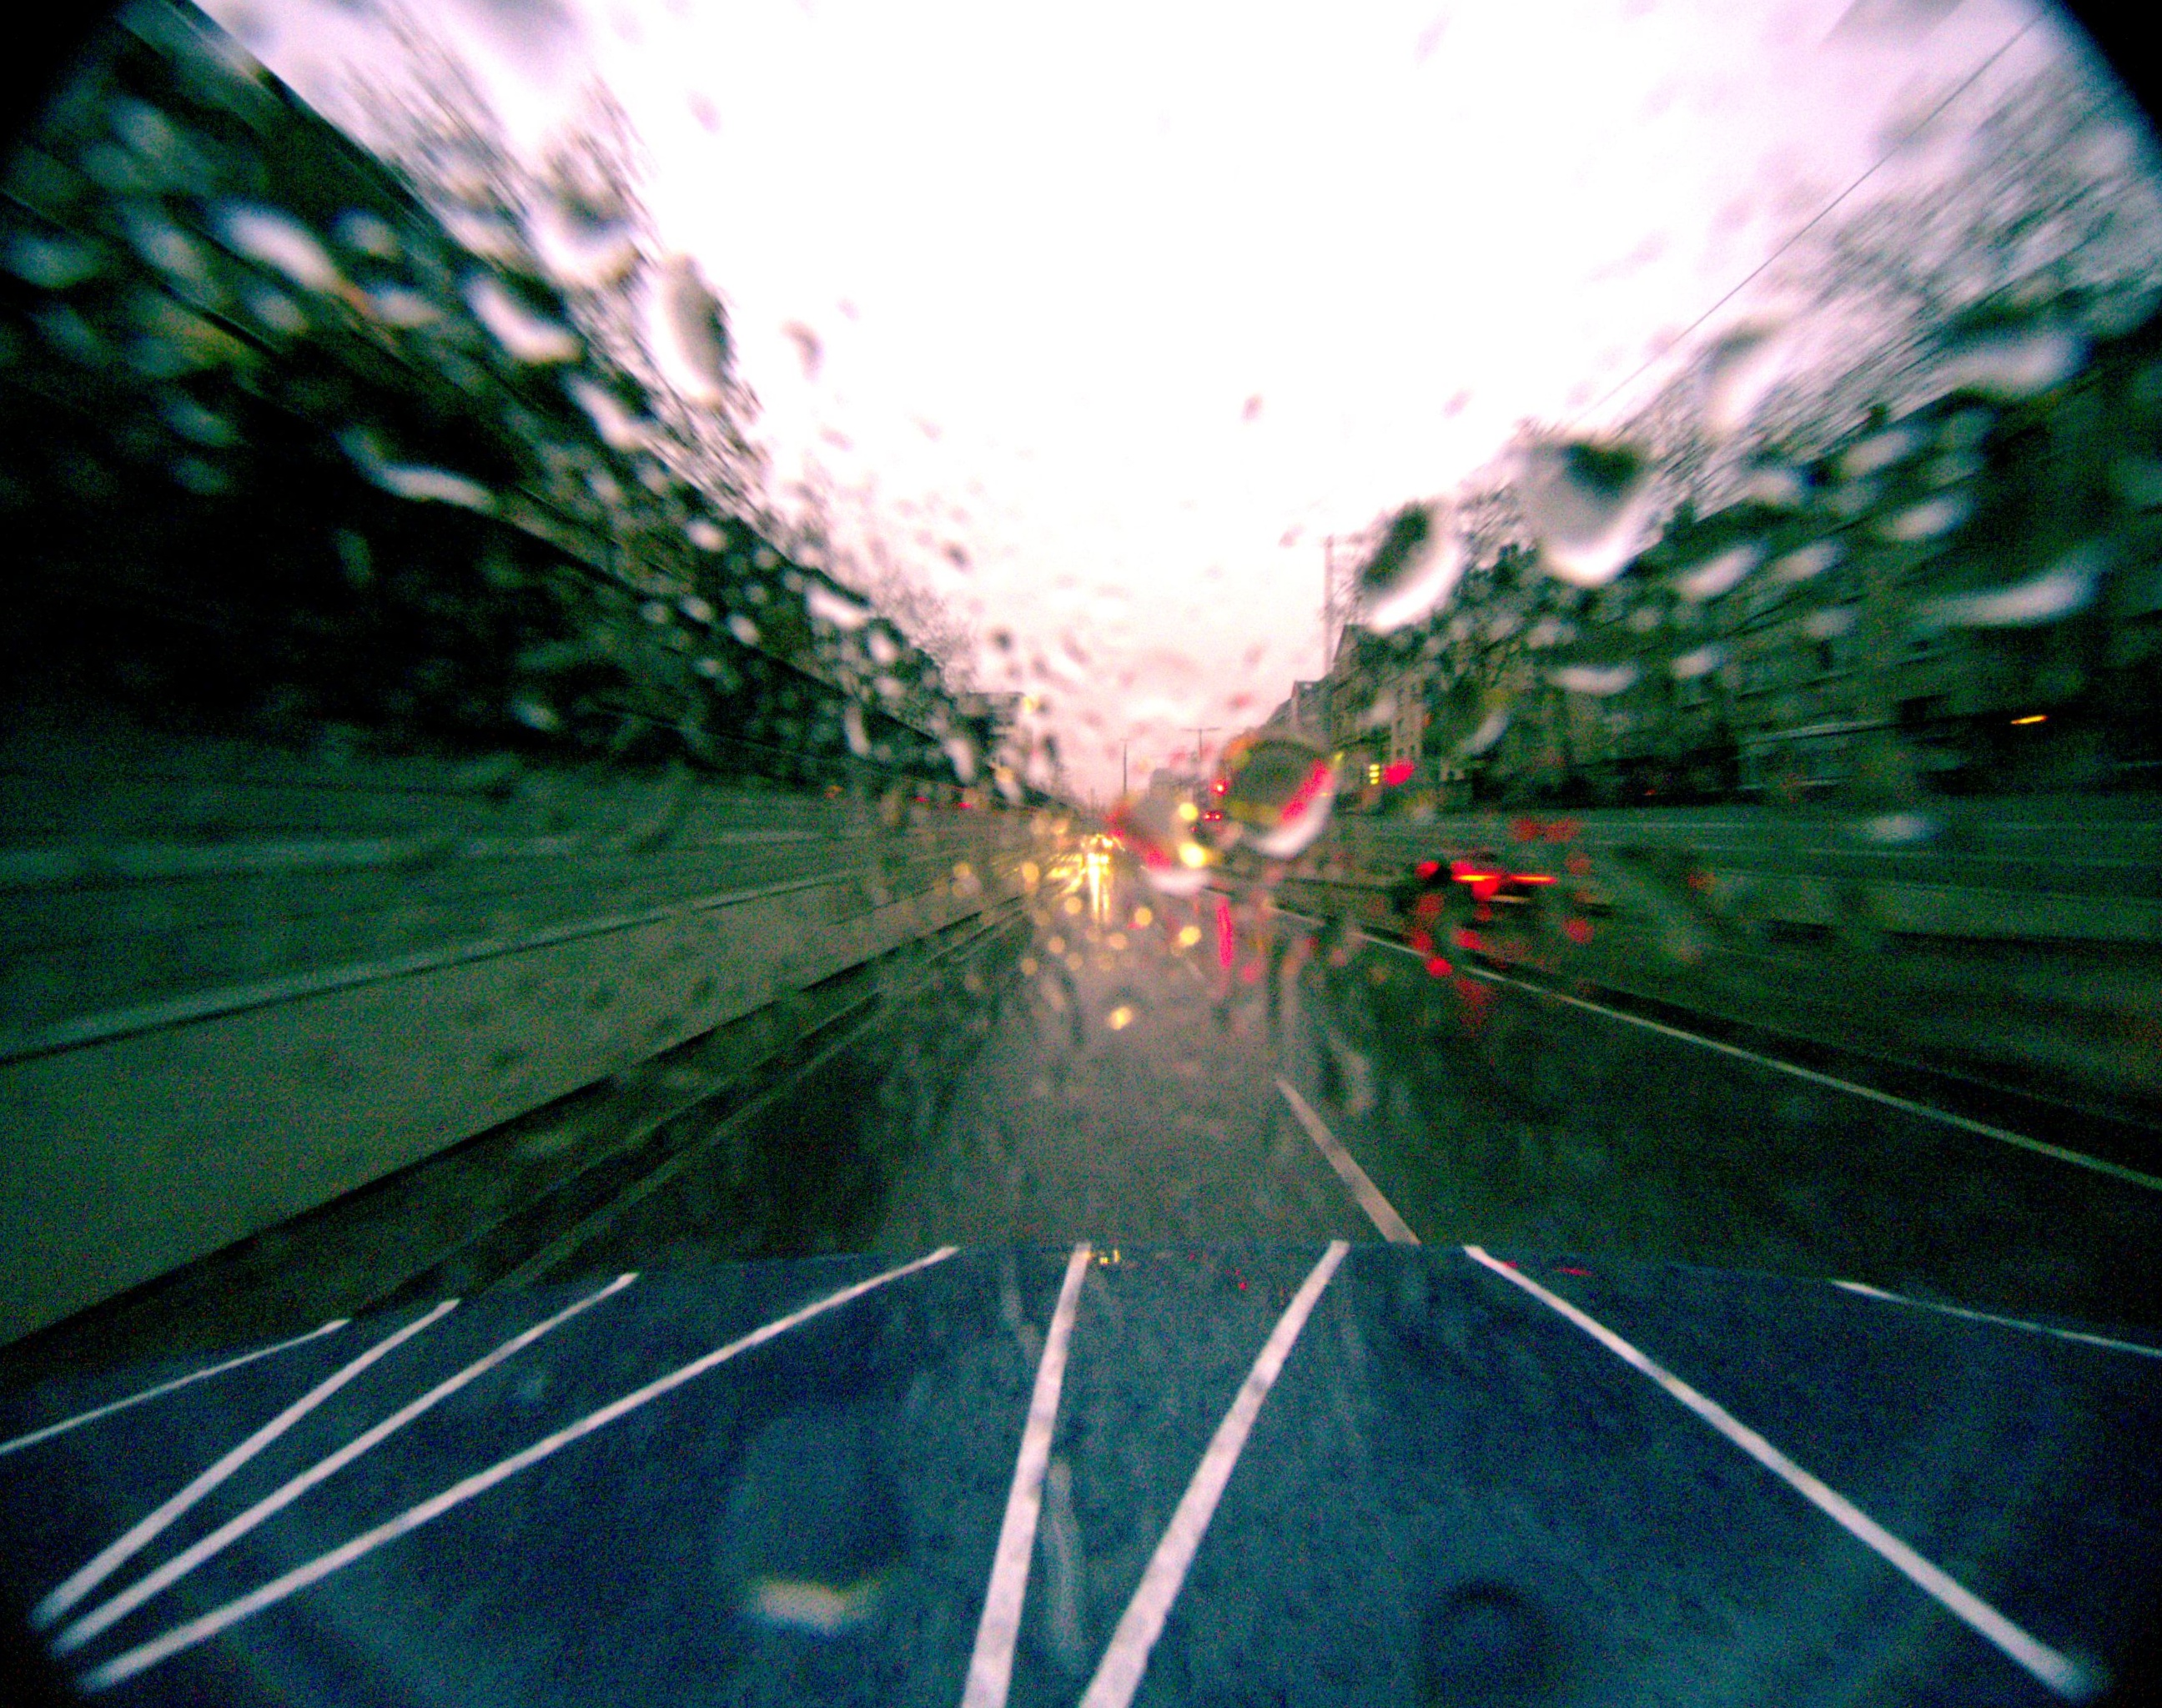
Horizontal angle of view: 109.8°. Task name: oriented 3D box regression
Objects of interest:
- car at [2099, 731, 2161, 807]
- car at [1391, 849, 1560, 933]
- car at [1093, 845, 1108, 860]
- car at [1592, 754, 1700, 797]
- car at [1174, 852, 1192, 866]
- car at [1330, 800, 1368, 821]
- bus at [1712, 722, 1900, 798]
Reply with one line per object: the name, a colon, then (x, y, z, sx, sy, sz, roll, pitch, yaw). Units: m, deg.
car: (22.172, -1.656, 14.010, 1.569, 1.464, 3.877, 1, 2, 1)
car: (8.346, 0.710, 16.491, 1.789, 1.583, 3.842, 1, 0, 3)
car: (2.923, -0.218, 115.737, 2.031, 2.018, 4.422, -2, 2, -1)
car: (22.829, -3.139, 30.903, 1.569, 1.464, 3.877, 1, 2, 2)
car: (10.847, 0.553, 80.937, 1.575, 1.462, 3.687, -1, 0, 1)
car: (19.078, -3.074, 54.198, 1.569, 1.389, 3.405, 1, 2, 2)
bus: (20.942, -2.648, 22.214, 1.699, 1.860, 4.064, 1, 2, 4)
